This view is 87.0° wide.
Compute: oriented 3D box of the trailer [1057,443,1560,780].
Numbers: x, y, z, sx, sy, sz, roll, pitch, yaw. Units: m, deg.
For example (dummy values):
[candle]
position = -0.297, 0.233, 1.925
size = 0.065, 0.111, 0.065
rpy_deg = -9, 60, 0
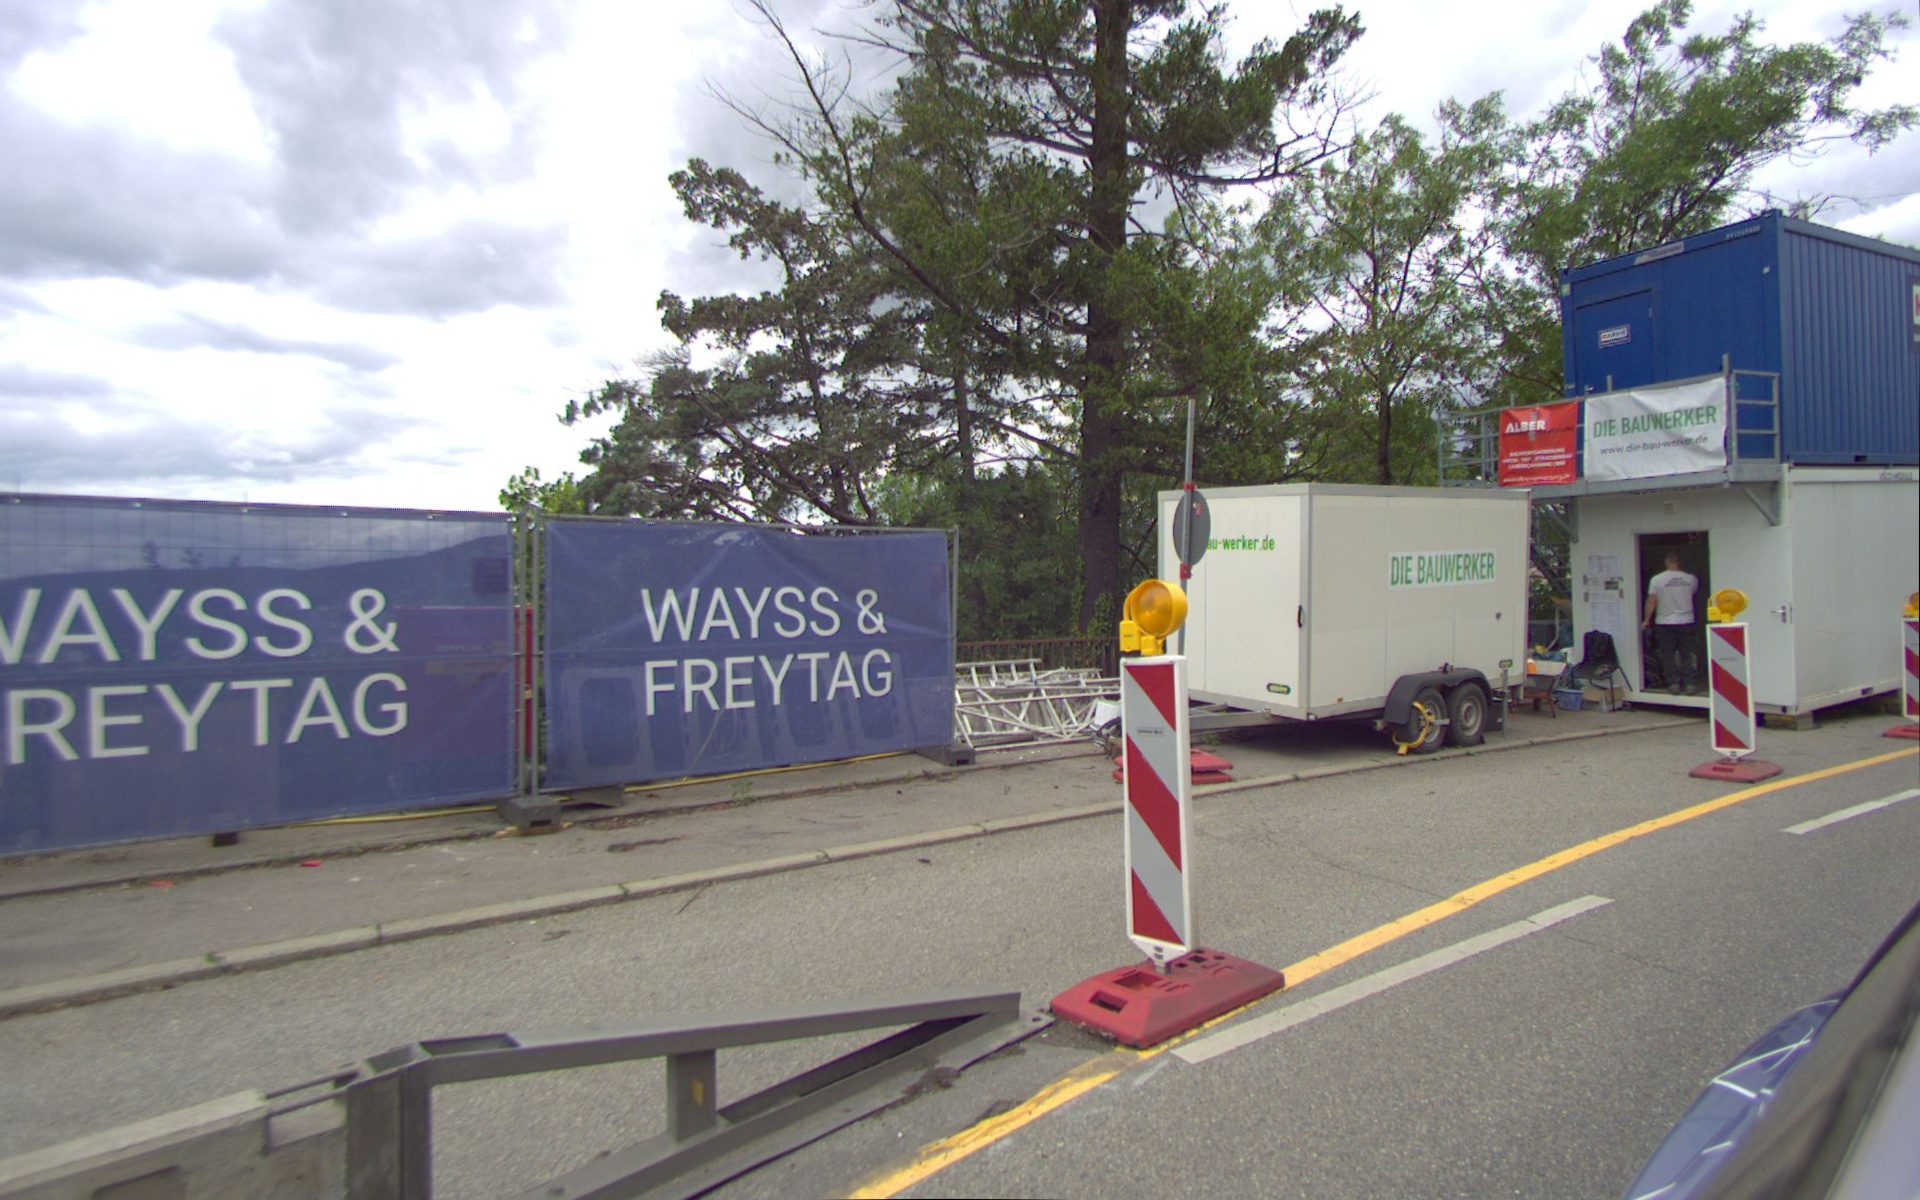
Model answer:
[trailer]
position = 3.582, 0.028, 10.033
size = 5.021, 2.581, 2.114
rpy_deg = -1, 2, -34

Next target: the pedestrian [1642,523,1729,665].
[pedestrian]
position = 8.907, -0.064, 12.453
size = 0.642, 1.683, 0.646
rpy_deg = -2, -2, 19

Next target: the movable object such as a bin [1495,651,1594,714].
[movable object such as a bin]
position = 7.127, 0.988, 12.344
size = 0.869, 0.648, 0.707
rpy_deg = -1, 2, -31
